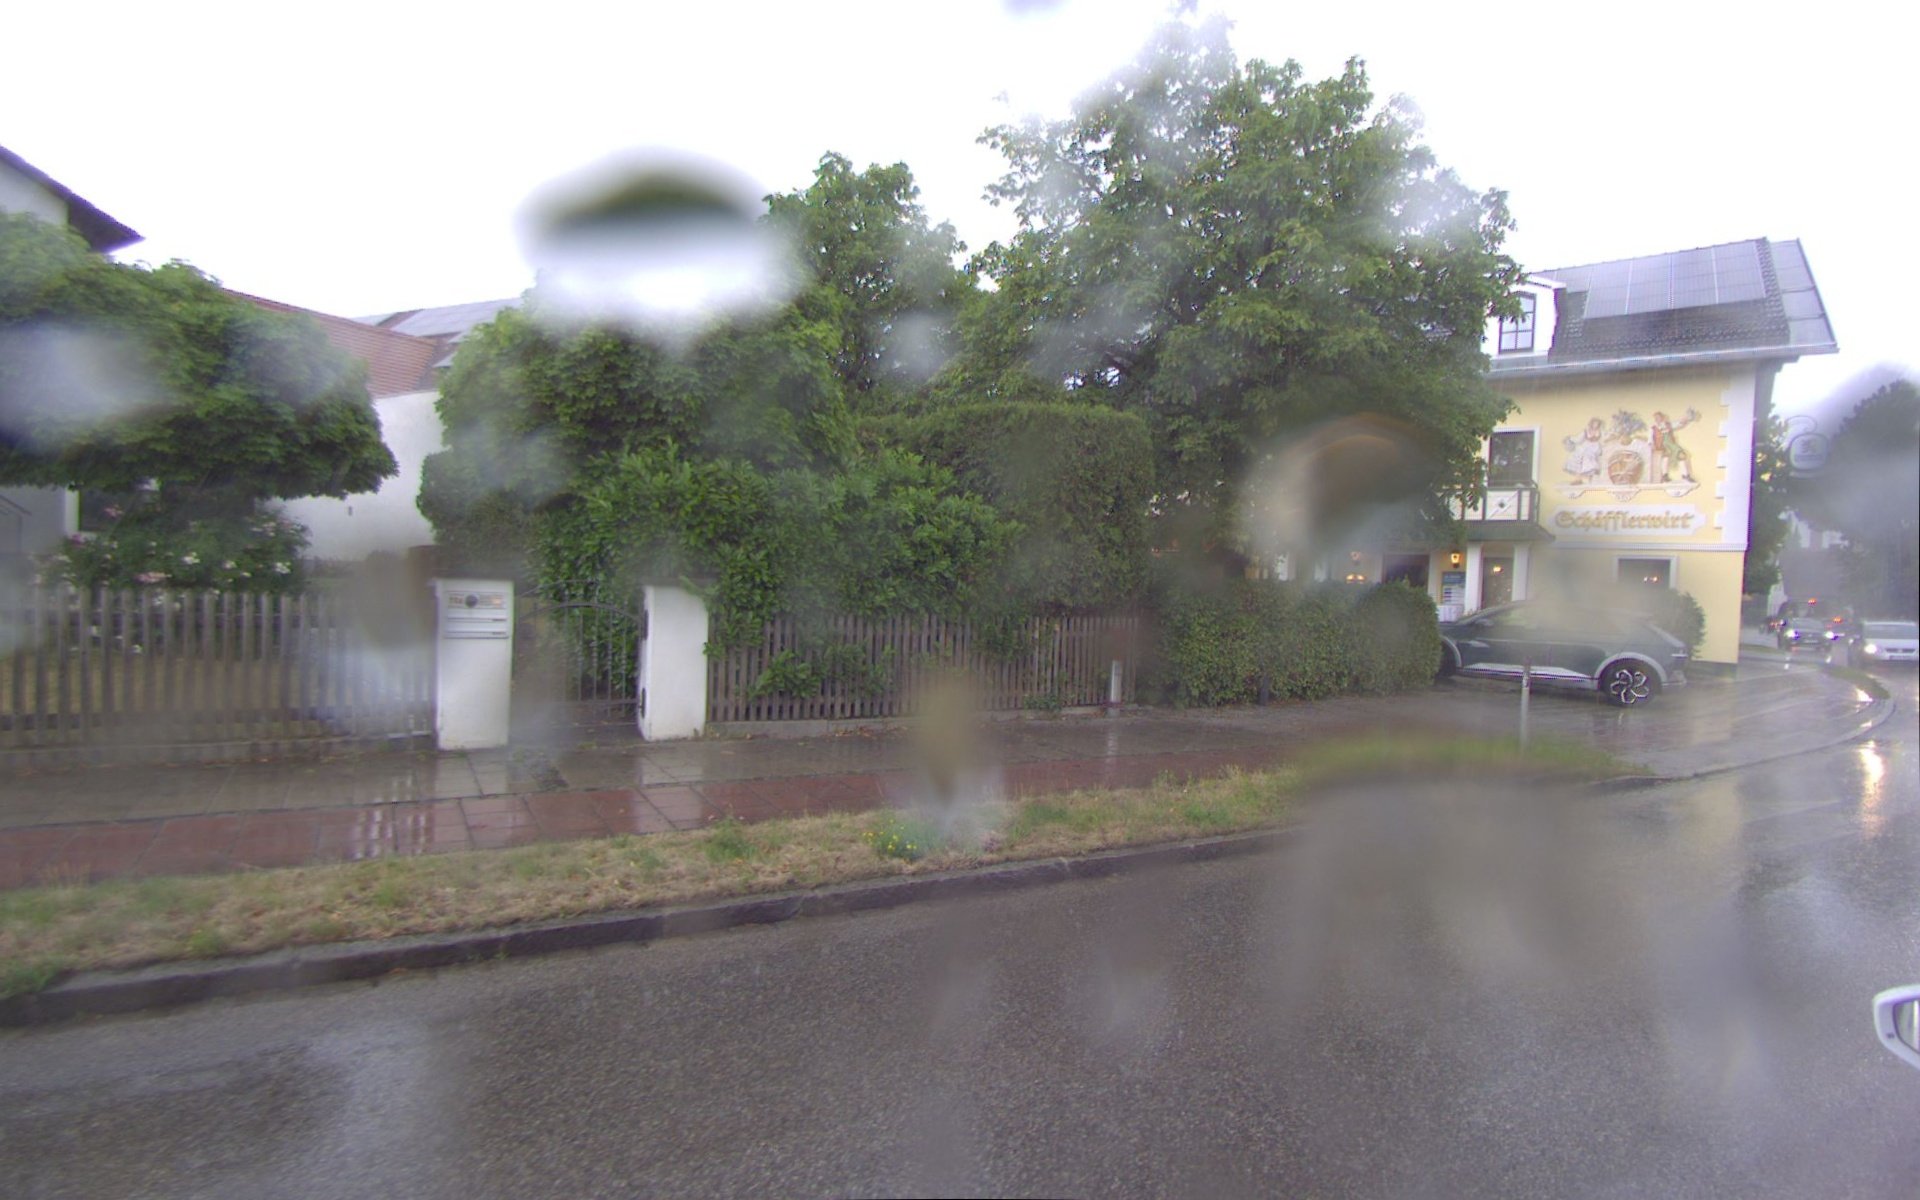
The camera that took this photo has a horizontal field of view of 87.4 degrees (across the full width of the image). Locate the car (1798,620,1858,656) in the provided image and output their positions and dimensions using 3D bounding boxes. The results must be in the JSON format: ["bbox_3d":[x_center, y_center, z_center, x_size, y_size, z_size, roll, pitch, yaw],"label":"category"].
[{"bbox_3d":[53.823,2.300,62.391,2.139,1.925,4.999,3,2,34],"label":"car"}]

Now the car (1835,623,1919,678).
[{"bbox_3d":[30.658,1.652,33.447,1.729,1.700,3.990,0,-1,33],"label":"car"}]

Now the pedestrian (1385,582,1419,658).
[{"bbox_3d":[10.277,0.452,23.334,0.484,1.712,0.552,6,4,38],"label":"pedestrian"}]

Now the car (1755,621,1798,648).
[{"bbox_3d":[65.837,2.723,81.102,2.139,1.925,4.999,3,2,34],"label":"car"}]

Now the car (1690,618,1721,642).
[{"bbox_3d":[65.360,2.628,88.074,1.825,1.997,4.690,0,-1,33],"label":"car"}]

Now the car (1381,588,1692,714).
[{"bbox_3d":[9.945,0.779,17.592,4.413,1.589,1.834,6,5,33],"label":"car"}]

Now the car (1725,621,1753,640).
[{"bbox_3d":[89.438,3.476,115.343,2.139,1.925,4.999,3,2,34],"label":"car"}]

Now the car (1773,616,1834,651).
[{"bbox_3d":[41.366,1.619,49.340,1.563,1.631,3.533,1,-1,28],"label":"car"}]

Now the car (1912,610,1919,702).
[{"bbox_3d":[19.360,1.081,18.906,1.900,1.767,4.170,0,-1,41],"label":"car"}]
